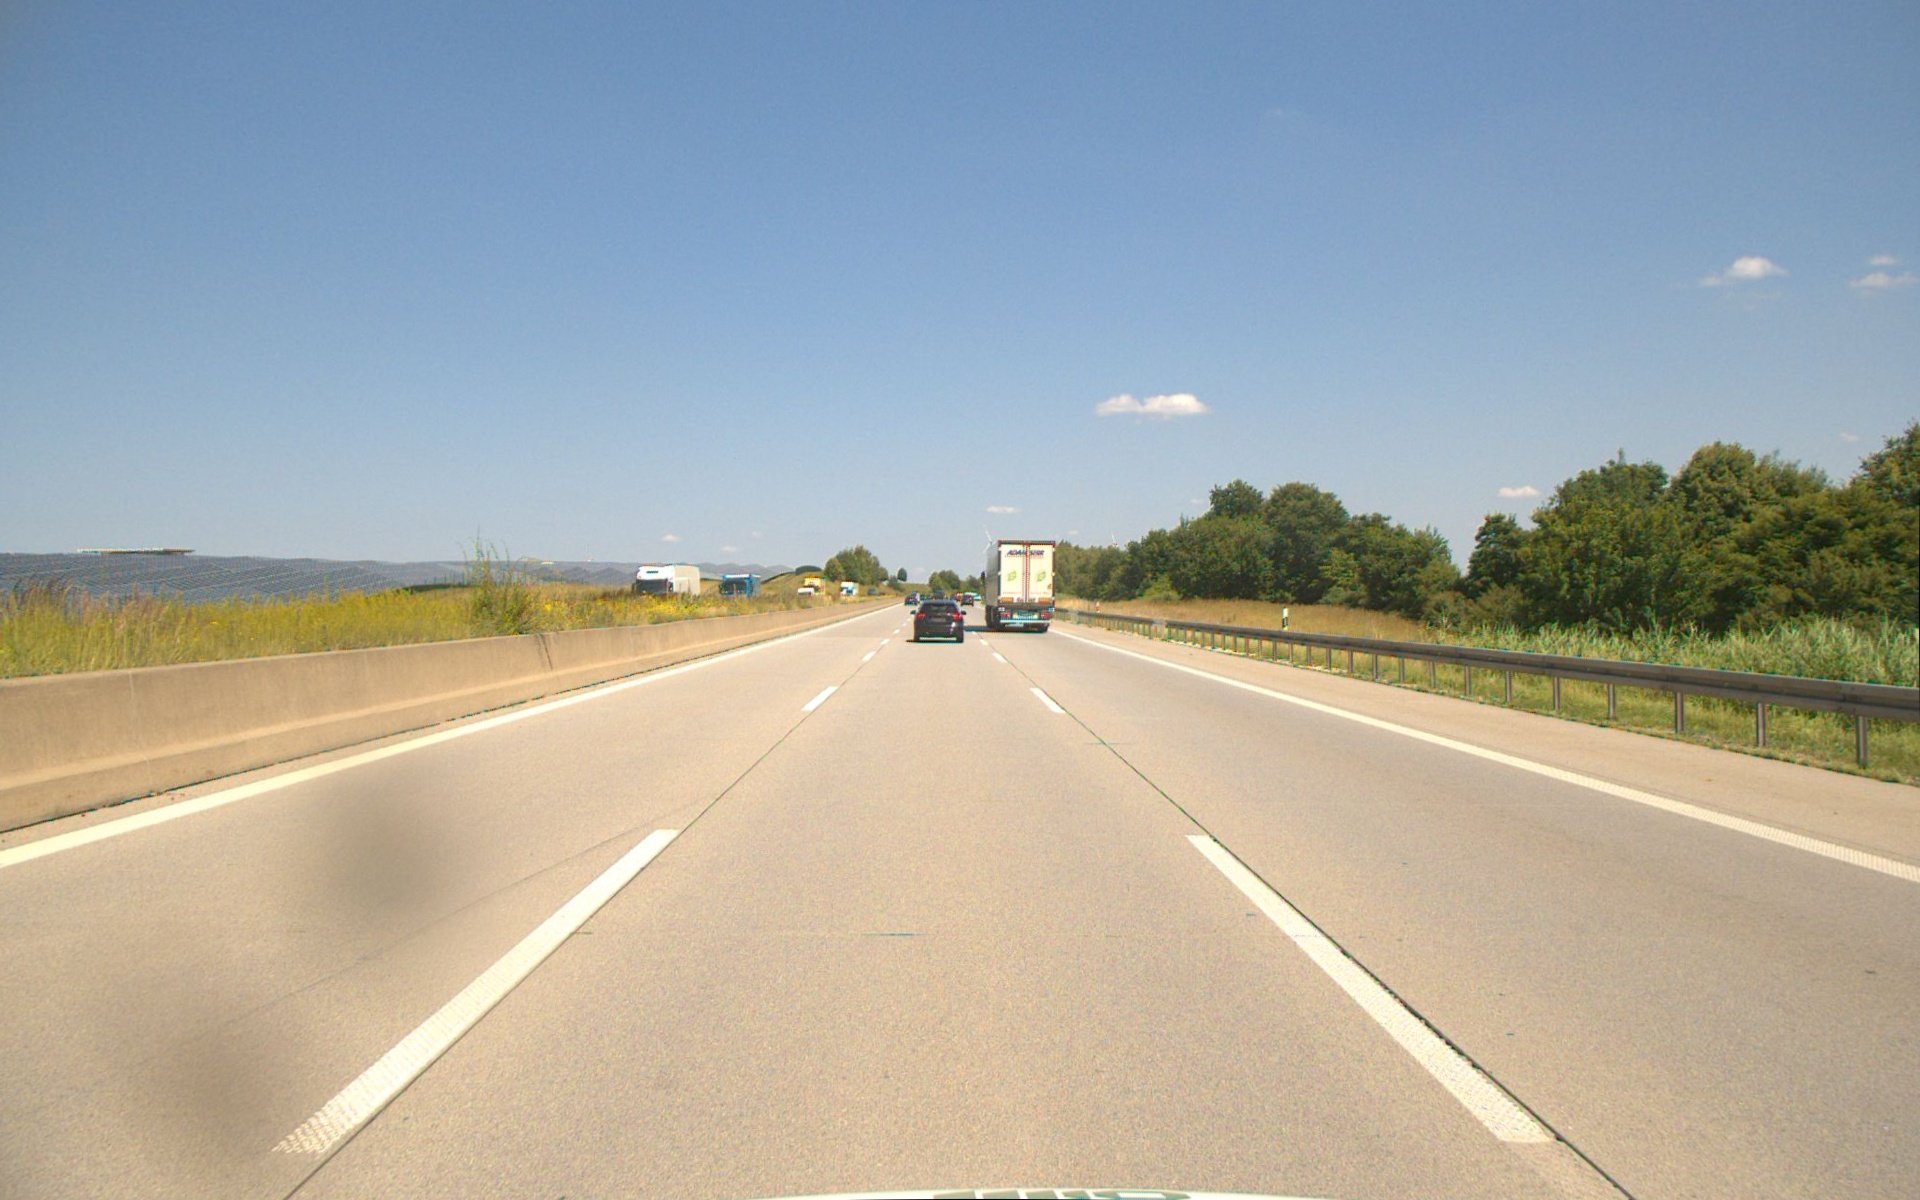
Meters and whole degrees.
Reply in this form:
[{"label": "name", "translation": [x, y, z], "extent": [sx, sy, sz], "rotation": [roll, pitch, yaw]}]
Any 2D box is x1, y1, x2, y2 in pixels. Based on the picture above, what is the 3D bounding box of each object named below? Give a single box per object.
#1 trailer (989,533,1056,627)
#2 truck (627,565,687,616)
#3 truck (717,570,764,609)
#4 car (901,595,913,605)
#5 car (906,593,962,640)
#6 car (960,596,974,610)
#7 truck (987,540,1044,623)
[{"label": "trailer", "translation": [2.865, -0.901, 79.388], "extent": [2.794, 4.113, 12.713], "rotation": [1, 0, 0]}, {"label": "truck", "translation": [-22.041, -0.642, 120.688], "extent": [3.059, 3.548, 6.884], "rotation": [1, 0, -1]}, {"label": "truck", "translation": [-18.716, -0.825, 141.551], "extent": [2.767, 3.117, 10.372], "rotation": [1, 0, -1]}, {"label": "car", "translation": [-7.403, 0.014, 230.589], "extent": [1.622, 1.217, 3.959], "rotation": [3, 0, -1]}, {"label": "car", "translation": [-0.935, 0.552, 57.948], "extent": [1.872, 1.518, 4.190], "rotation": [1, 0, -1]}, {"label": "car", "translation": [0.942, 0.375, 232.607], "extent": [1.790, 1.940, 3.999], "rotation": [1, 0, -1]}, {"label": "truck", "translation": [2.867, -0.951, 87.206], "extent": [2.754, 4.159, 5.798], "rotation": [1, 0, 0]}]
